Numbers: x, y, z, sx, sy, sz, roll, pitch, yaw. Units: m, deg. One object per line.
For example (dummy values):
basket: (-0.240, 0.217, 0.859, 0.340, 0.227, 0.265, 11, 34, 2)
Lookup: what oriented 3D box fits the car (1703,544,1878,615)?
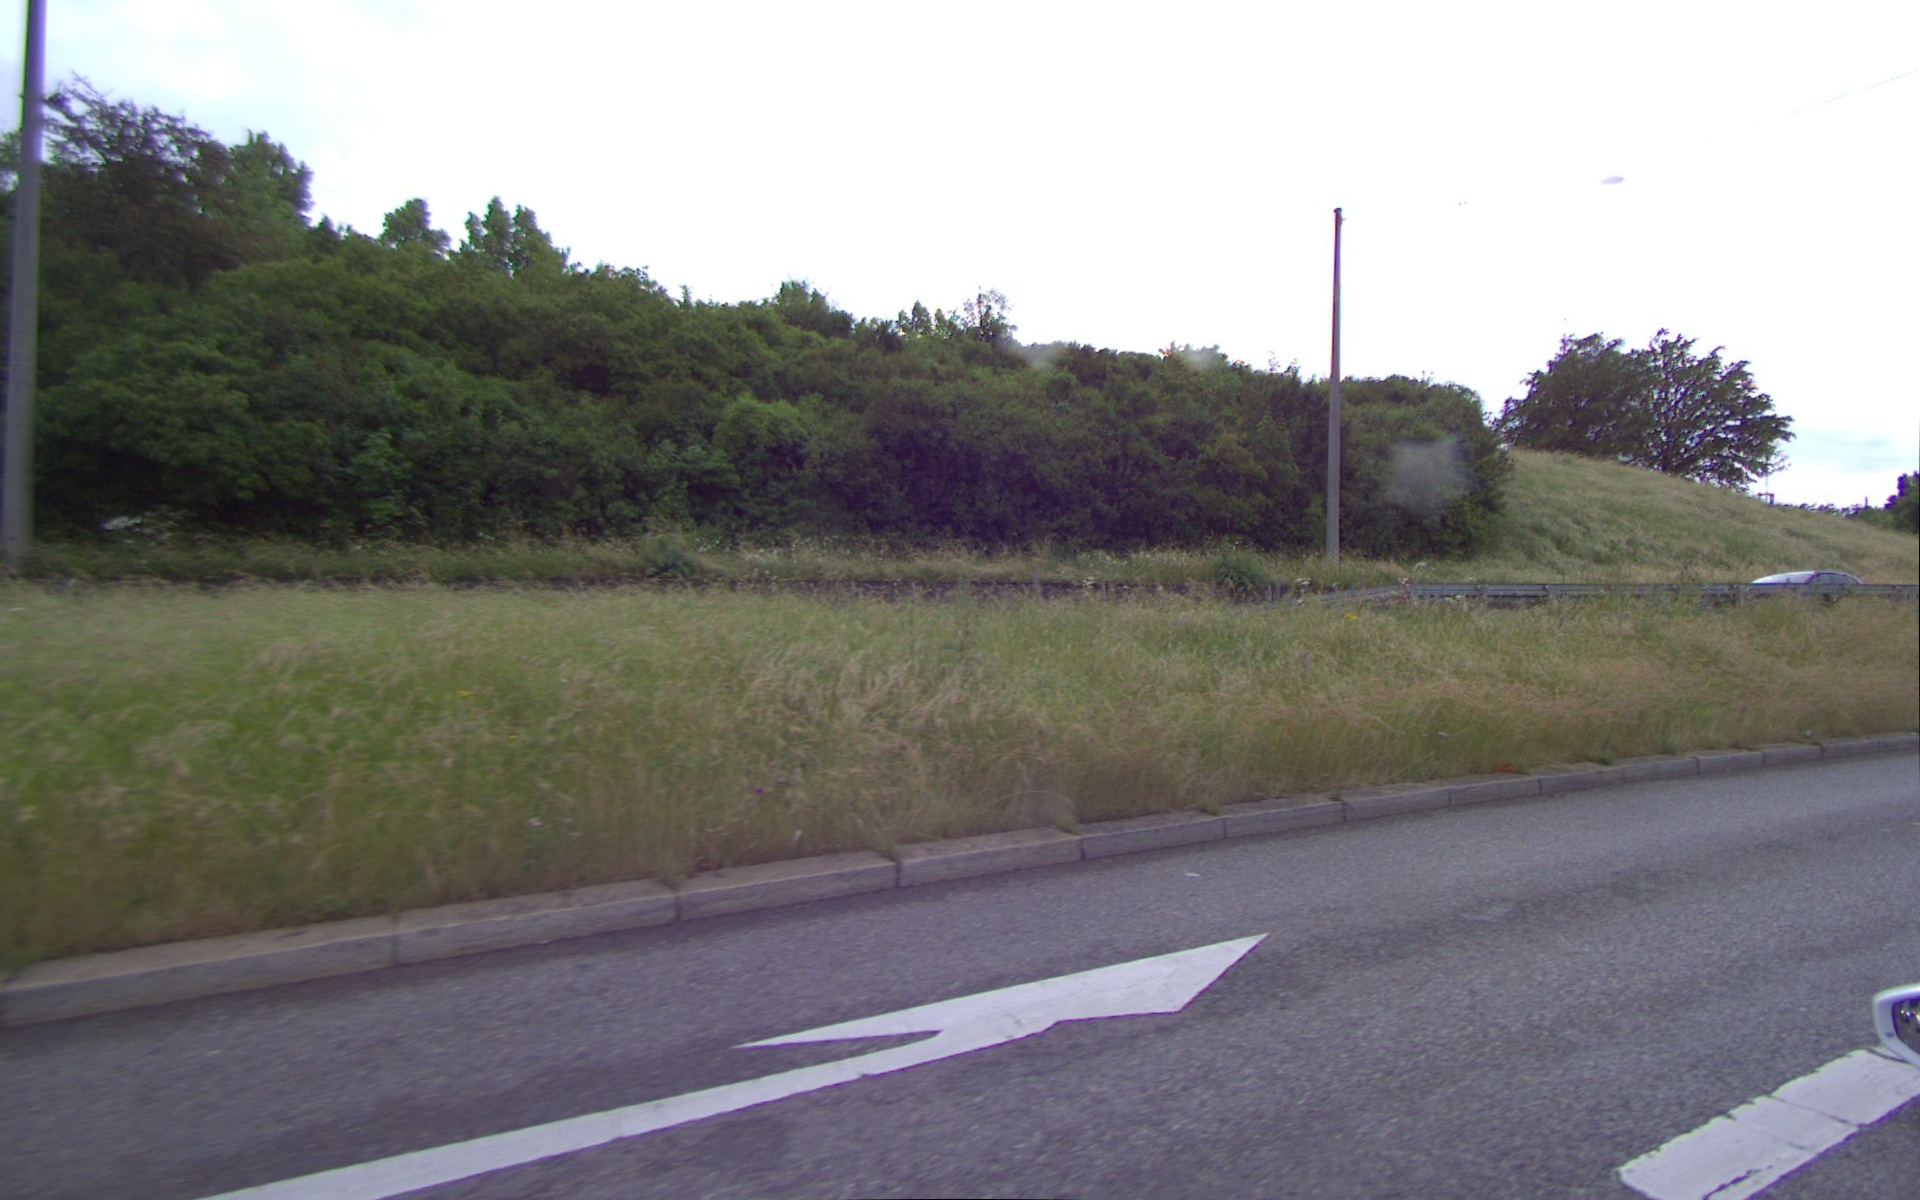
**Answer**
car: (21.324, -0.533, 25.802, 3.941, 1.679, 1.707, 0, 4, -22)
